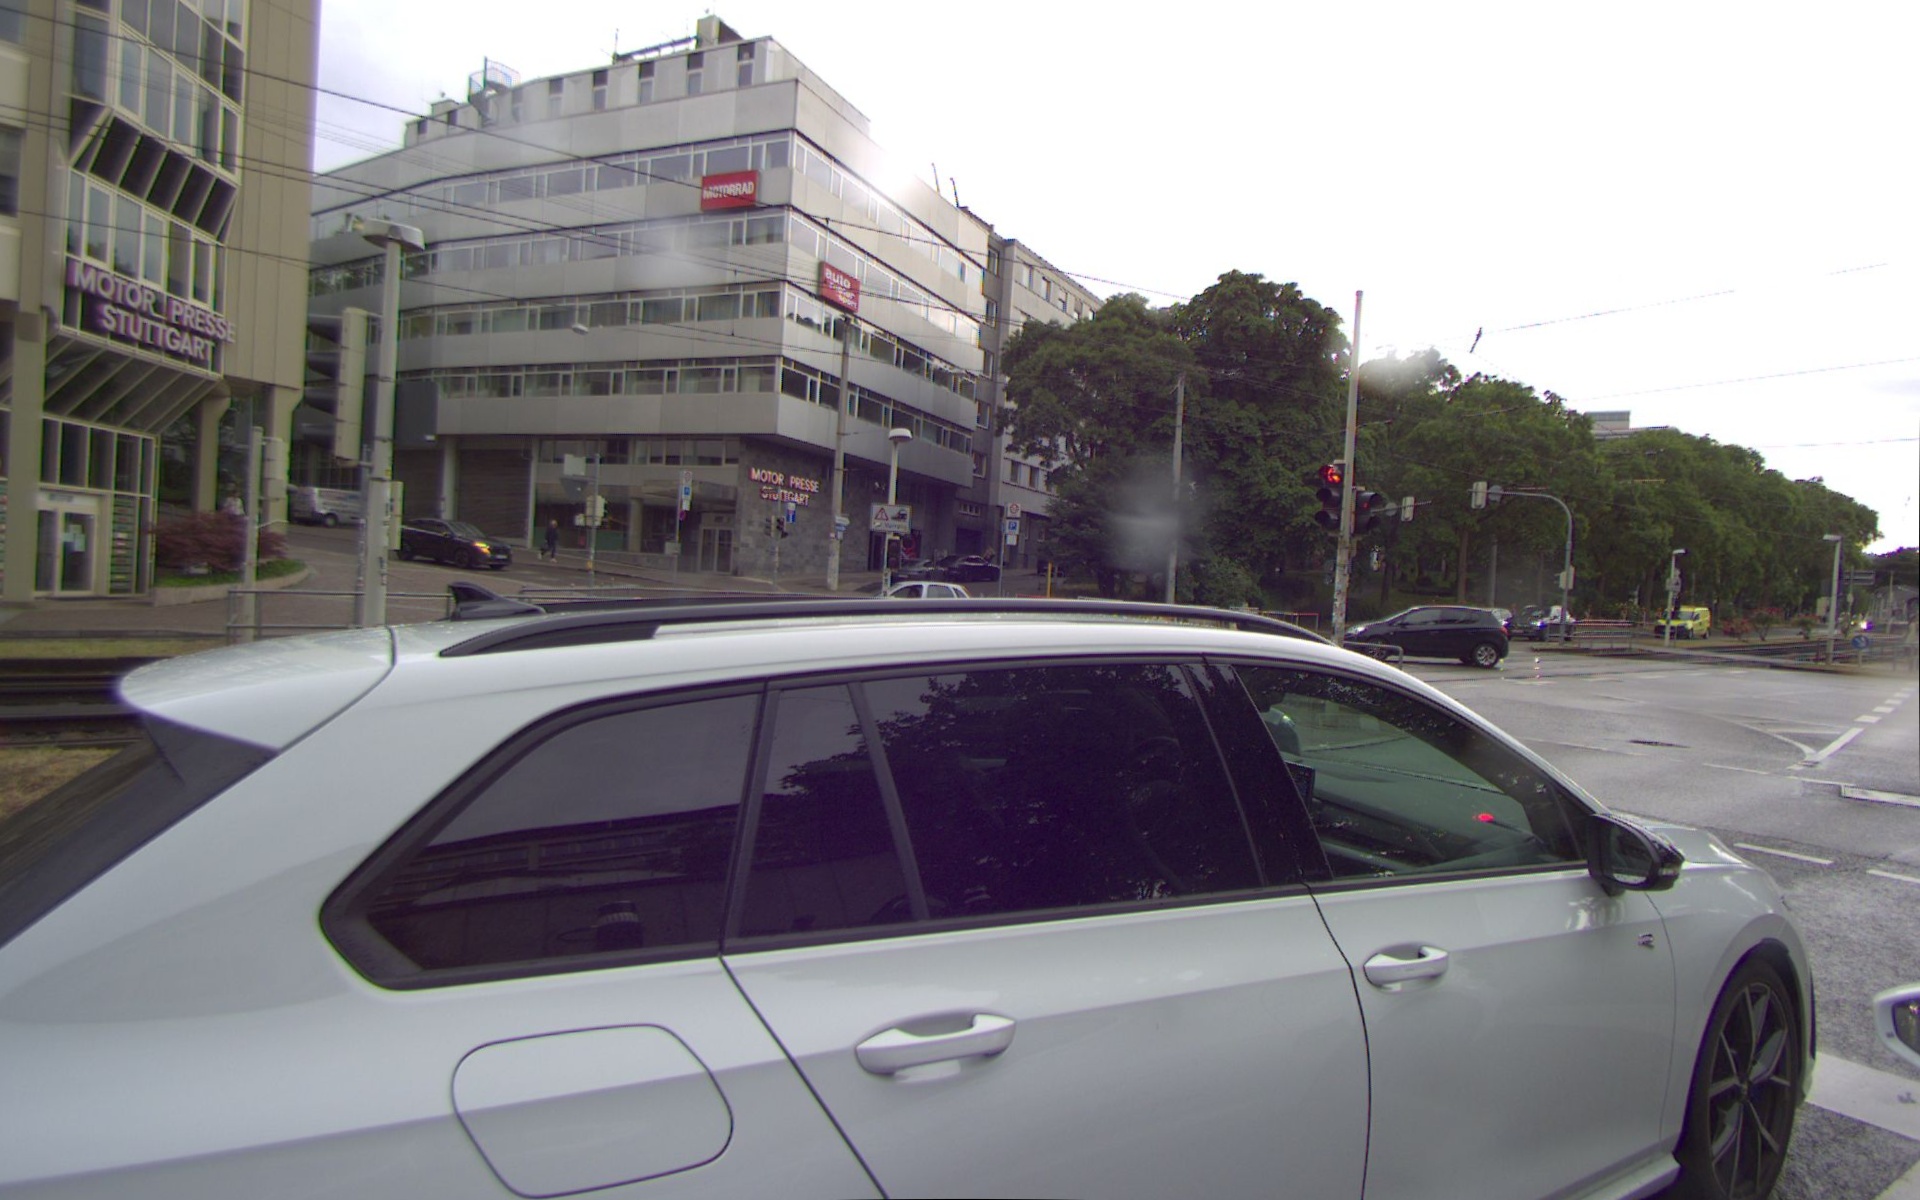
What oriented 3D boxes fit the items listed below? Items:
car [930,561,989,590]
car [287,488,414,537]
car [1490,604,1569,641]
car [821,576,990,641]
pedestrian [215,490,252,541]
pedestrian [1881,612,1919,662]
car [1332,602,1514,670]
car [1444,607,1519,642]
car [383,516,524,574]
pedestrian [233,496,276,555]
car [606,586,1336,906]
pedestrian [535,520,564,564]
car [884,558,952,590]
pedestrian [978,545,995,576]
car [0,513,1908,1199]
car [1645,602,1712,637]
[{"bbox_3d":[0.030,-1.348,55.586,1.842,1.450,3.998,3,2,22],"label":"car"},{"bbox_3d":[-32.032,-4.537,52.996,1.964,2.040,5.403,2,0,30],"label":"car"},{"bbox_3d":[26.673,1.039,46.991,3.648,1.566,1.905,2,1,-37],"label":"car"},{"bbox_3d":[-1.353,0.193,24.537,3.808,1.375,1.627,2,2,-16],"label":"car"},{"bbox_3d":[-24.744,-2.865,34.222,0.746,1.661,0.719,5,2,25],"label":"pedestrian"},{"bbox_3d":[35.490,1.379,37.837,0.856,1.826,0.867,4,2,27],"label":"pedestrian"},{"bbox_3d":[11.500,0.860,25.178,3.793,1.375,1.633,3,2,12],"label":"car"},{"bbox_3d":[26.062,1.217,50.187,3.648,1.566,1.905,2,1,-37],"label":"car"},{"bbox_3d":[-18.820,-2.043,37.323,4.794,1.601,1.999,7,3,23],"label":"car"},{"bbox_3d":[-22.613,-2.390,32.199,0.746,1.811,0.830,5,2,25],"label":"pedestrian"},{"bbox_3d":[0.196,0.720,6.487,4.423,1.461,1.787,2,0,-30],"label":"car"},{"bbox_3d":[-18.433,-2.592,45.111,0.833,1.886,0.719,5,2,25],"label":"pedestrian"},{"bbox_3d":[-2.060,-1.289,50.612,1.842,1.450,4.091,3,2,22],"label":"car"},{"bbox_3d":[1.663,-2.463,62.394,0.707,1.886,0.758,5,4,31],"label":"pedestrian"},{"bbox_3d":[0.299,0.703,2.474,4.423,1.461,1.787,2,0,-30],"label":"car"},{"bbox_3d":[42.076,1.159,58.777,4.525,1.875,1.905,2,1,-38],"label":"car"}]
